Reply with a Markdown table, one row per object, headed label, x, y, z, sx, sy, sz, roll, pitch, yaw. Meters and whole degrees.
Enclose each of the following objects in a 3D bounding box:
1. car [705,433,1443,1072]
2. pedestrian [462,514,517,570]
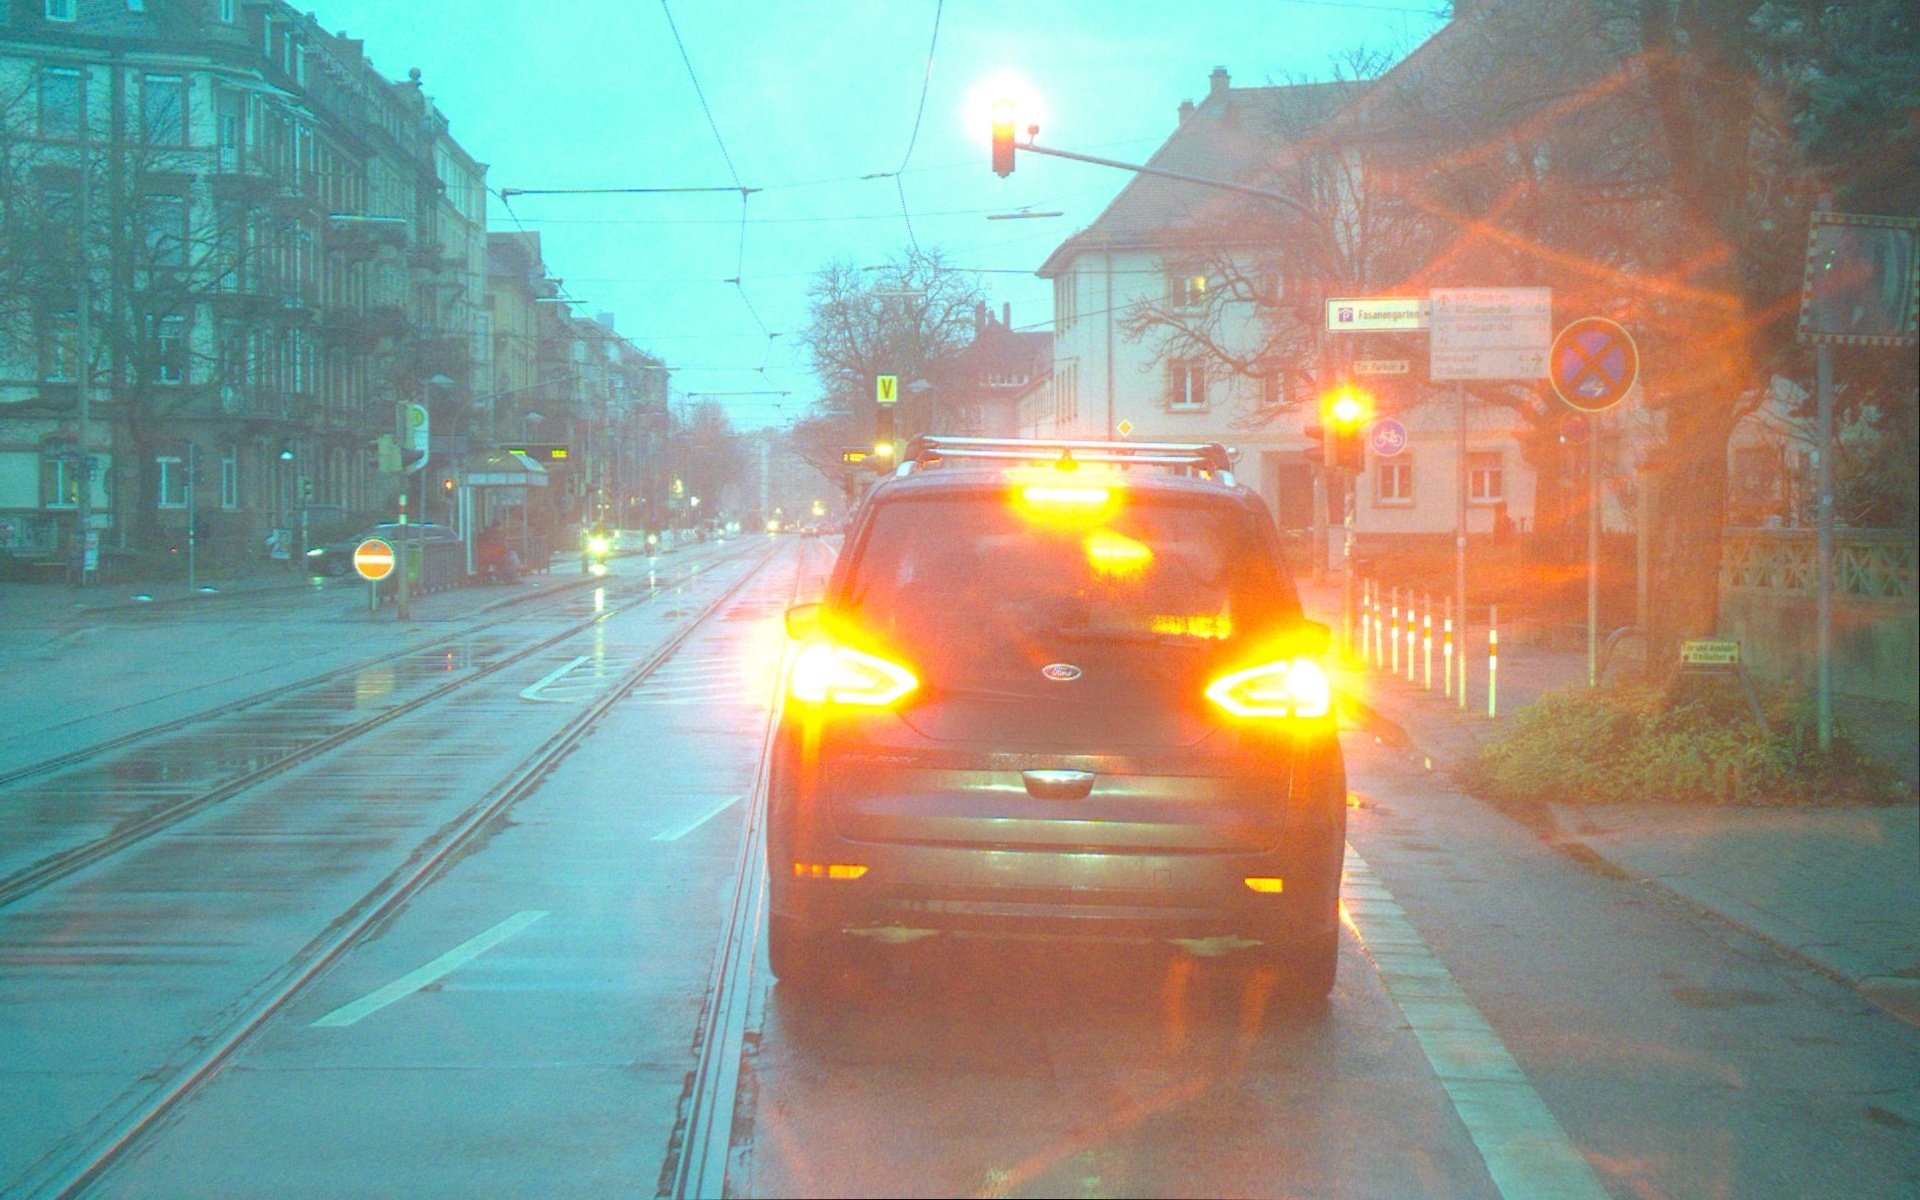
| label | x | y | z | sx | sy | sz | roll | pitch | yaw |
| --- | --- | --- | --- | --- | --- | --- | --- | --- | --- |
| car | 0.331 | 0.389 | 12.388 | 2.103 | 1.810 | 4.661 | 2 | 1 | 0 |
| pedestrian | -10.068 | -1.241 | 73.604 | 1.047 | 1.196 | 0.885 | 1 | 1 | -1 |
